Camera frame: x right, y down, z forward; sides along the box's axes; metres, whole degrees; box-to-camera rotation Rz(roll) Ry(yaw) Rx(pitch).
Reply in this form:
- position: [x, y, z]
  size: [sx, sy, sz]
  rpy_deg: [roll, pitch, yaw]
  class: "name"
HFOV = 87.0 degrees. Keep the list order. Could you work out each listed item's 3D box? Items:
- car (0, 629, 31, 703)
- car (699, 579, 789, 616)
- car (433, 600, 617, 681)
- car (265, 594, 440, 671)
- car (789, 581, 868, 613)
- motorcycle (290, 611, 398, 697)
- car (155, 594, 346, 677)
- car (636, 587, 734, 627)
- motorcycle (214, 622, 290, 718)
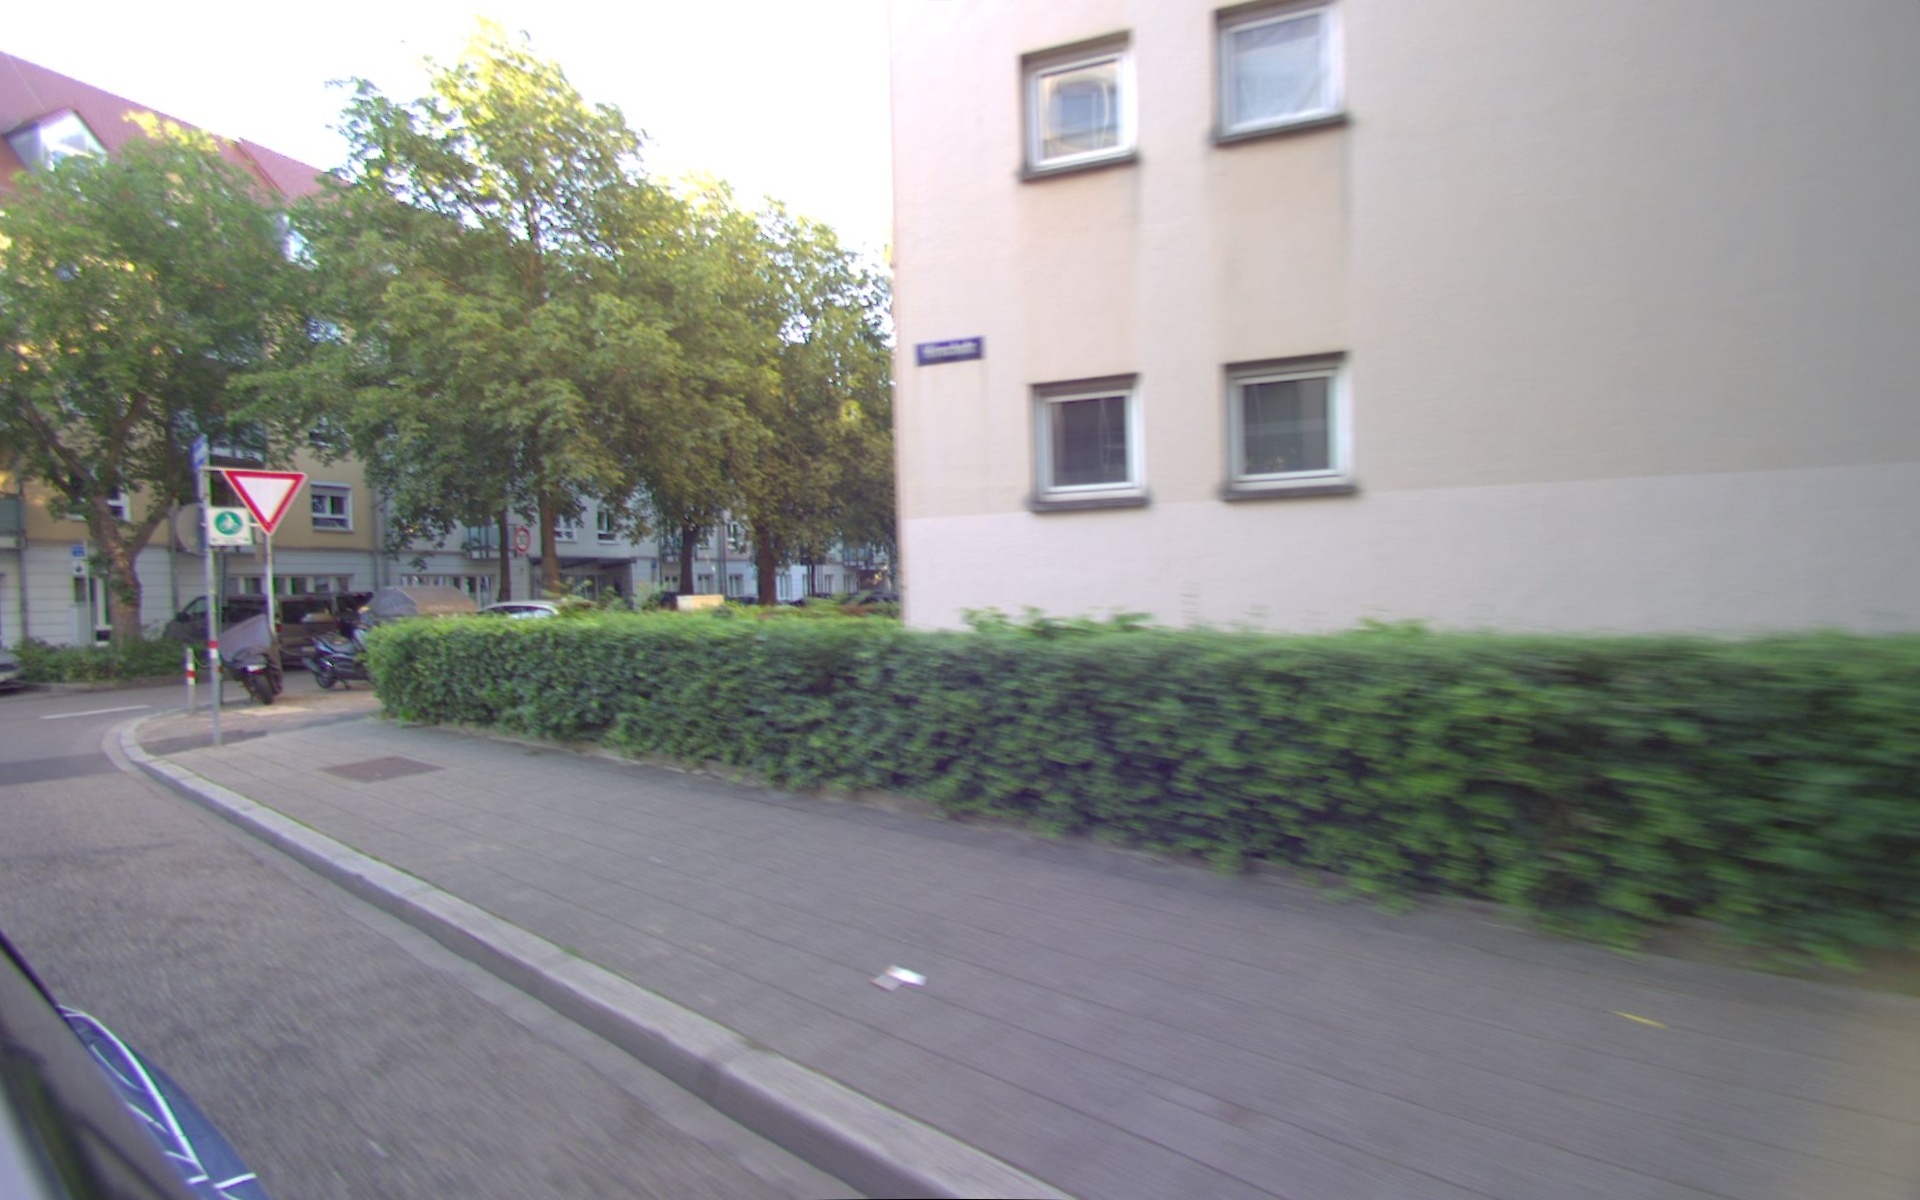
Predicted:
- position: [-21.570, 1.351, 20.916]
  size: [4.298, 1.479, 1.815]
  rpy_deg: [0, 0, 21]
  class: "car"
- position: [-10.775, -0.117, 50.416]
  size: [3.974, 1.741, 1.985]
  rpy_deg: [0, 1, 23]
  class: "car"
- position: [-9.038, 0.834, 21.008]
  size: [3.482, 1.518, 1.619]
  rpy_deg: [-2, 0, 27]
  class: "car"
- position: [-17.613, 0.883, 29.386]
  size: [4.298, 2.092, 2.213]
  rpy_deg: [0, 0, 21]
  class: "car"
- position: [-7.406, -0.151, 57.206]
  size: [3.974, 1.741, 1.985]
  rpy_deg: [0, 1, 23]
  class: "car"
- position: [-10.664, 0.929, 17.499]
  size: [1.959, 1.417, 0.567]
  rpy_deg: [-2, 0, 25]
  class: "motorcycle"
- position: [-19.024, 0.880, 27.152]
  size: [4.298, 2.092, 2.213]
  rpy_deg: [0, 0, 21]
  class: "car"
- position: [-12.592, 0.316, 46.325]
  size: [3.974, 1.741, 1.985]
  rpy_deg: [0, 1, 23]
  class: "car"
- position: [-11.082, 1.048, 15.820]
  size: [0.846, 1.363, 1.963]
  rpy_deg: [-2, 0, -38]
  class: "motorcycle"
